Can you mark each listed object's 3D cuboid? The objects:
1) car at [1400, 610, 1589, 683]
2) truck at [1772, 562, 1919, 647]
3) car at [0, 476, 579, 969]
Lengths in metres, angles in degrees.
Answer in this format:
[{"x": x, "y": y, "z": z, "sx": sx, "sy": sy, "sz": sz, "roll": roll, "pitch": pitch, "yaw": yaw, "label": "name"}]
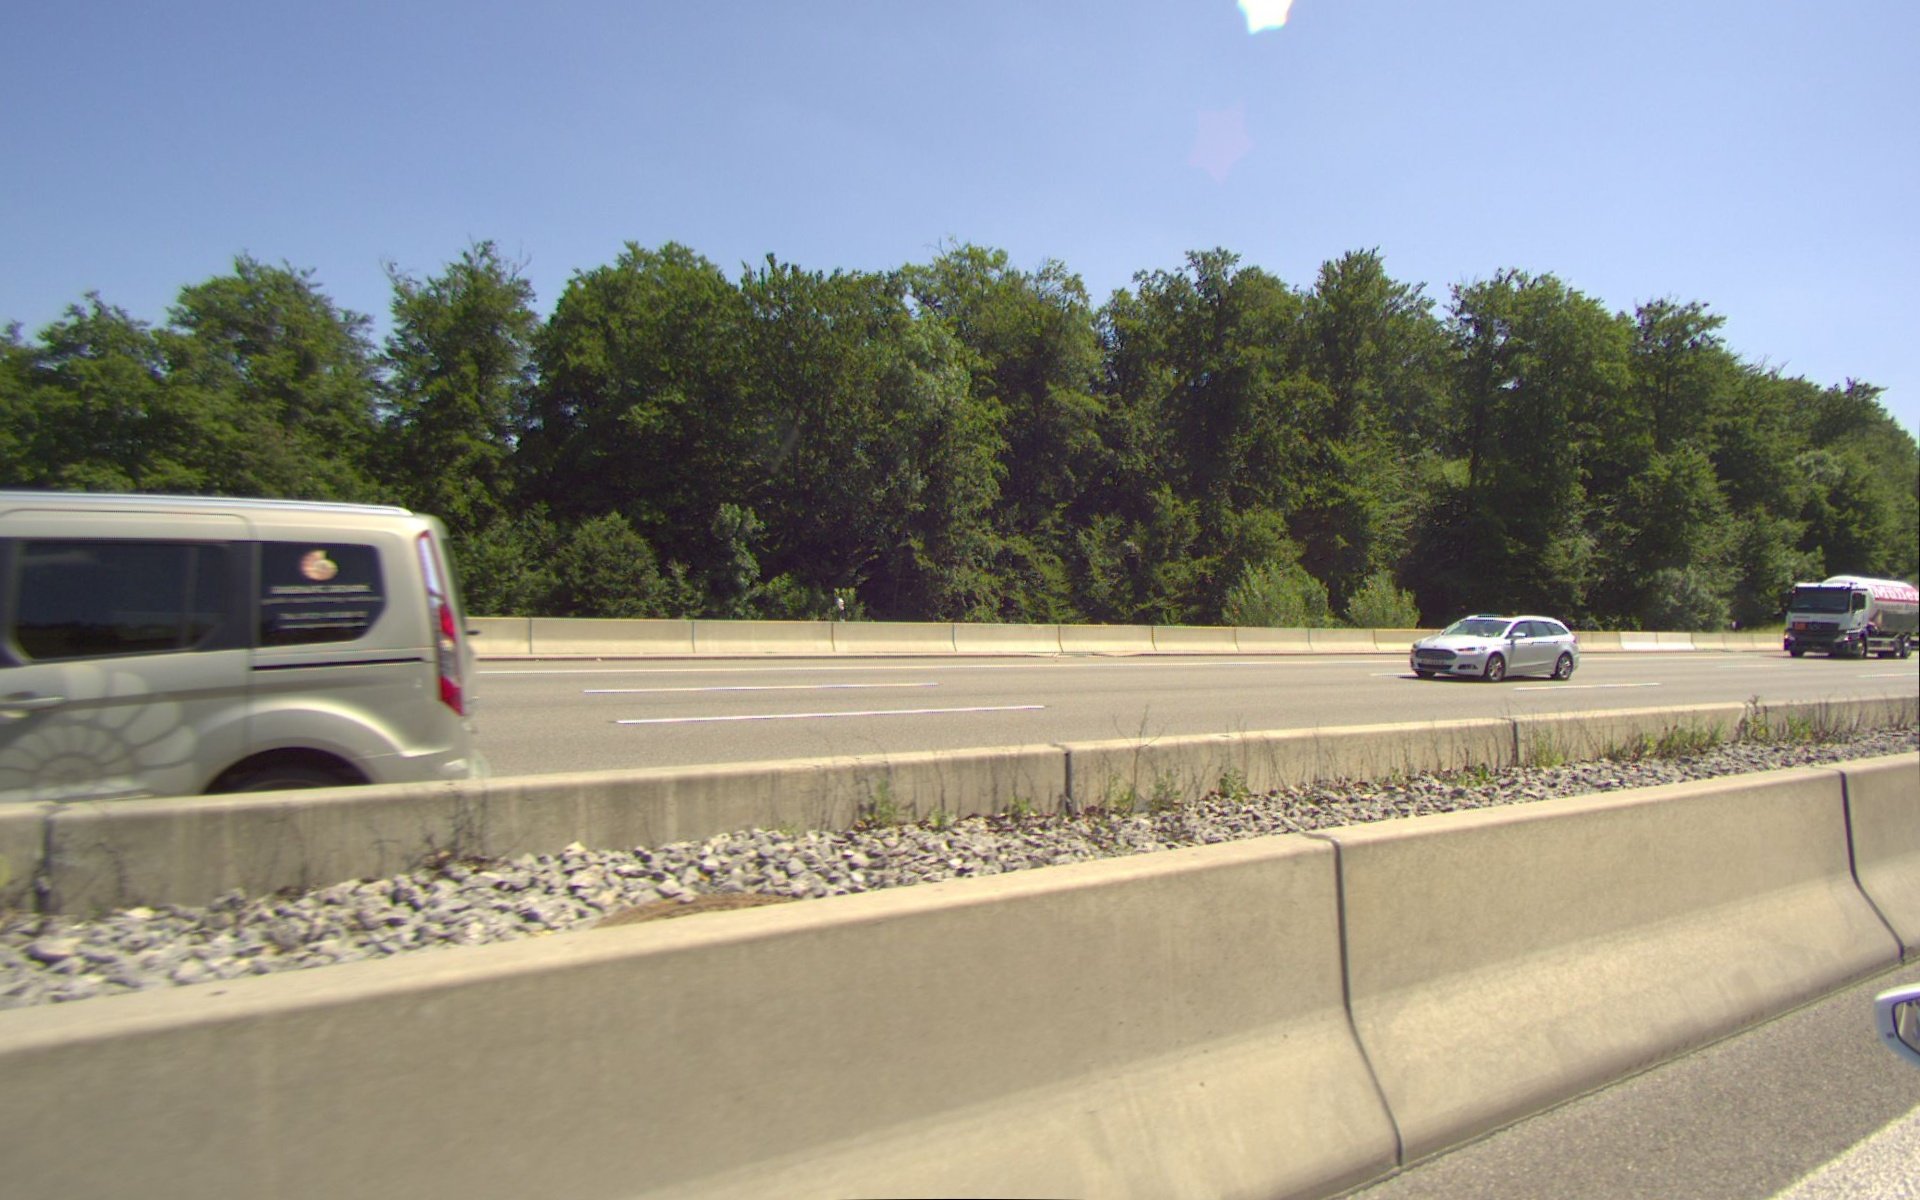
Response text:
[{"x": 12.469, "y": 1.072, "z": 23.361, "sx": 4.441, "sy": 1.502, "sz": 1.755, "roll": 2, "pitch": 1, "yaw": -30, "label": "car"}, {"x": 40.653, "y": 0.253, "z": 45.629, "sx": 9.770, "sy": 3.512, "sz": 2.596, "roll": 2, "pitch": 1, "yaw": -31, "label": "truck"}, {"x": -4.291, "y": 0.463, "z": 4.554, "sx": 4.536, "sy": 1.896, "sz": 1.809, "roll": 2, "pitch": 0, "yaw": -31, "label": "car"}]
